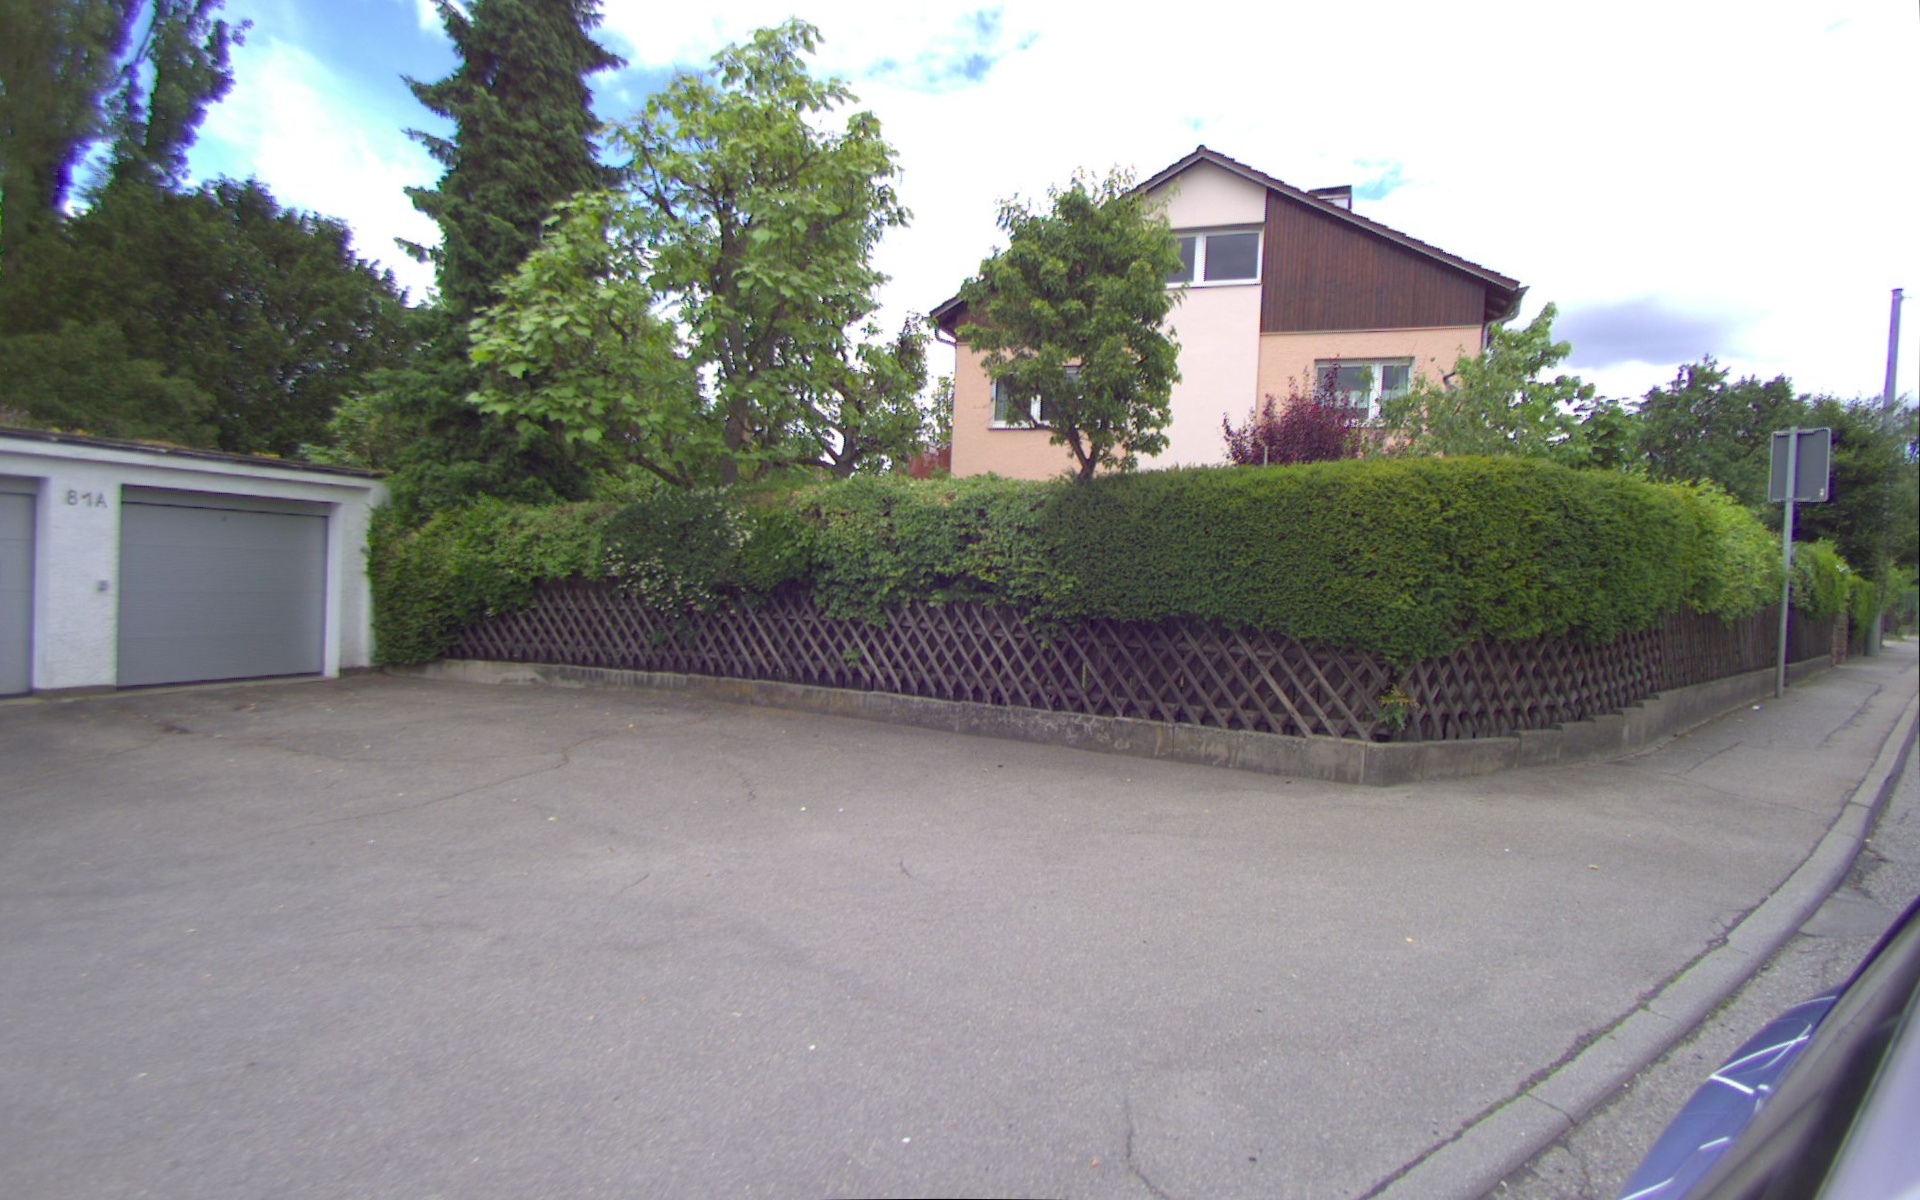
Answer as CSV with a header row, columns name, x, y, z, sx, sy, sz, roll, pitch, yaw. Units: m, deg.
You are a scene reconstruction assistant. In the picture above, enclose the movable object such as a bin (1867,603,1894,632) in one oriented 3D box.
name,x,y,z,sx,sy,sz,roll,pitch,yaw
movable object such as a bin,33.190,0.638,36.488,0.444,0.967,0.680,7,3,25
